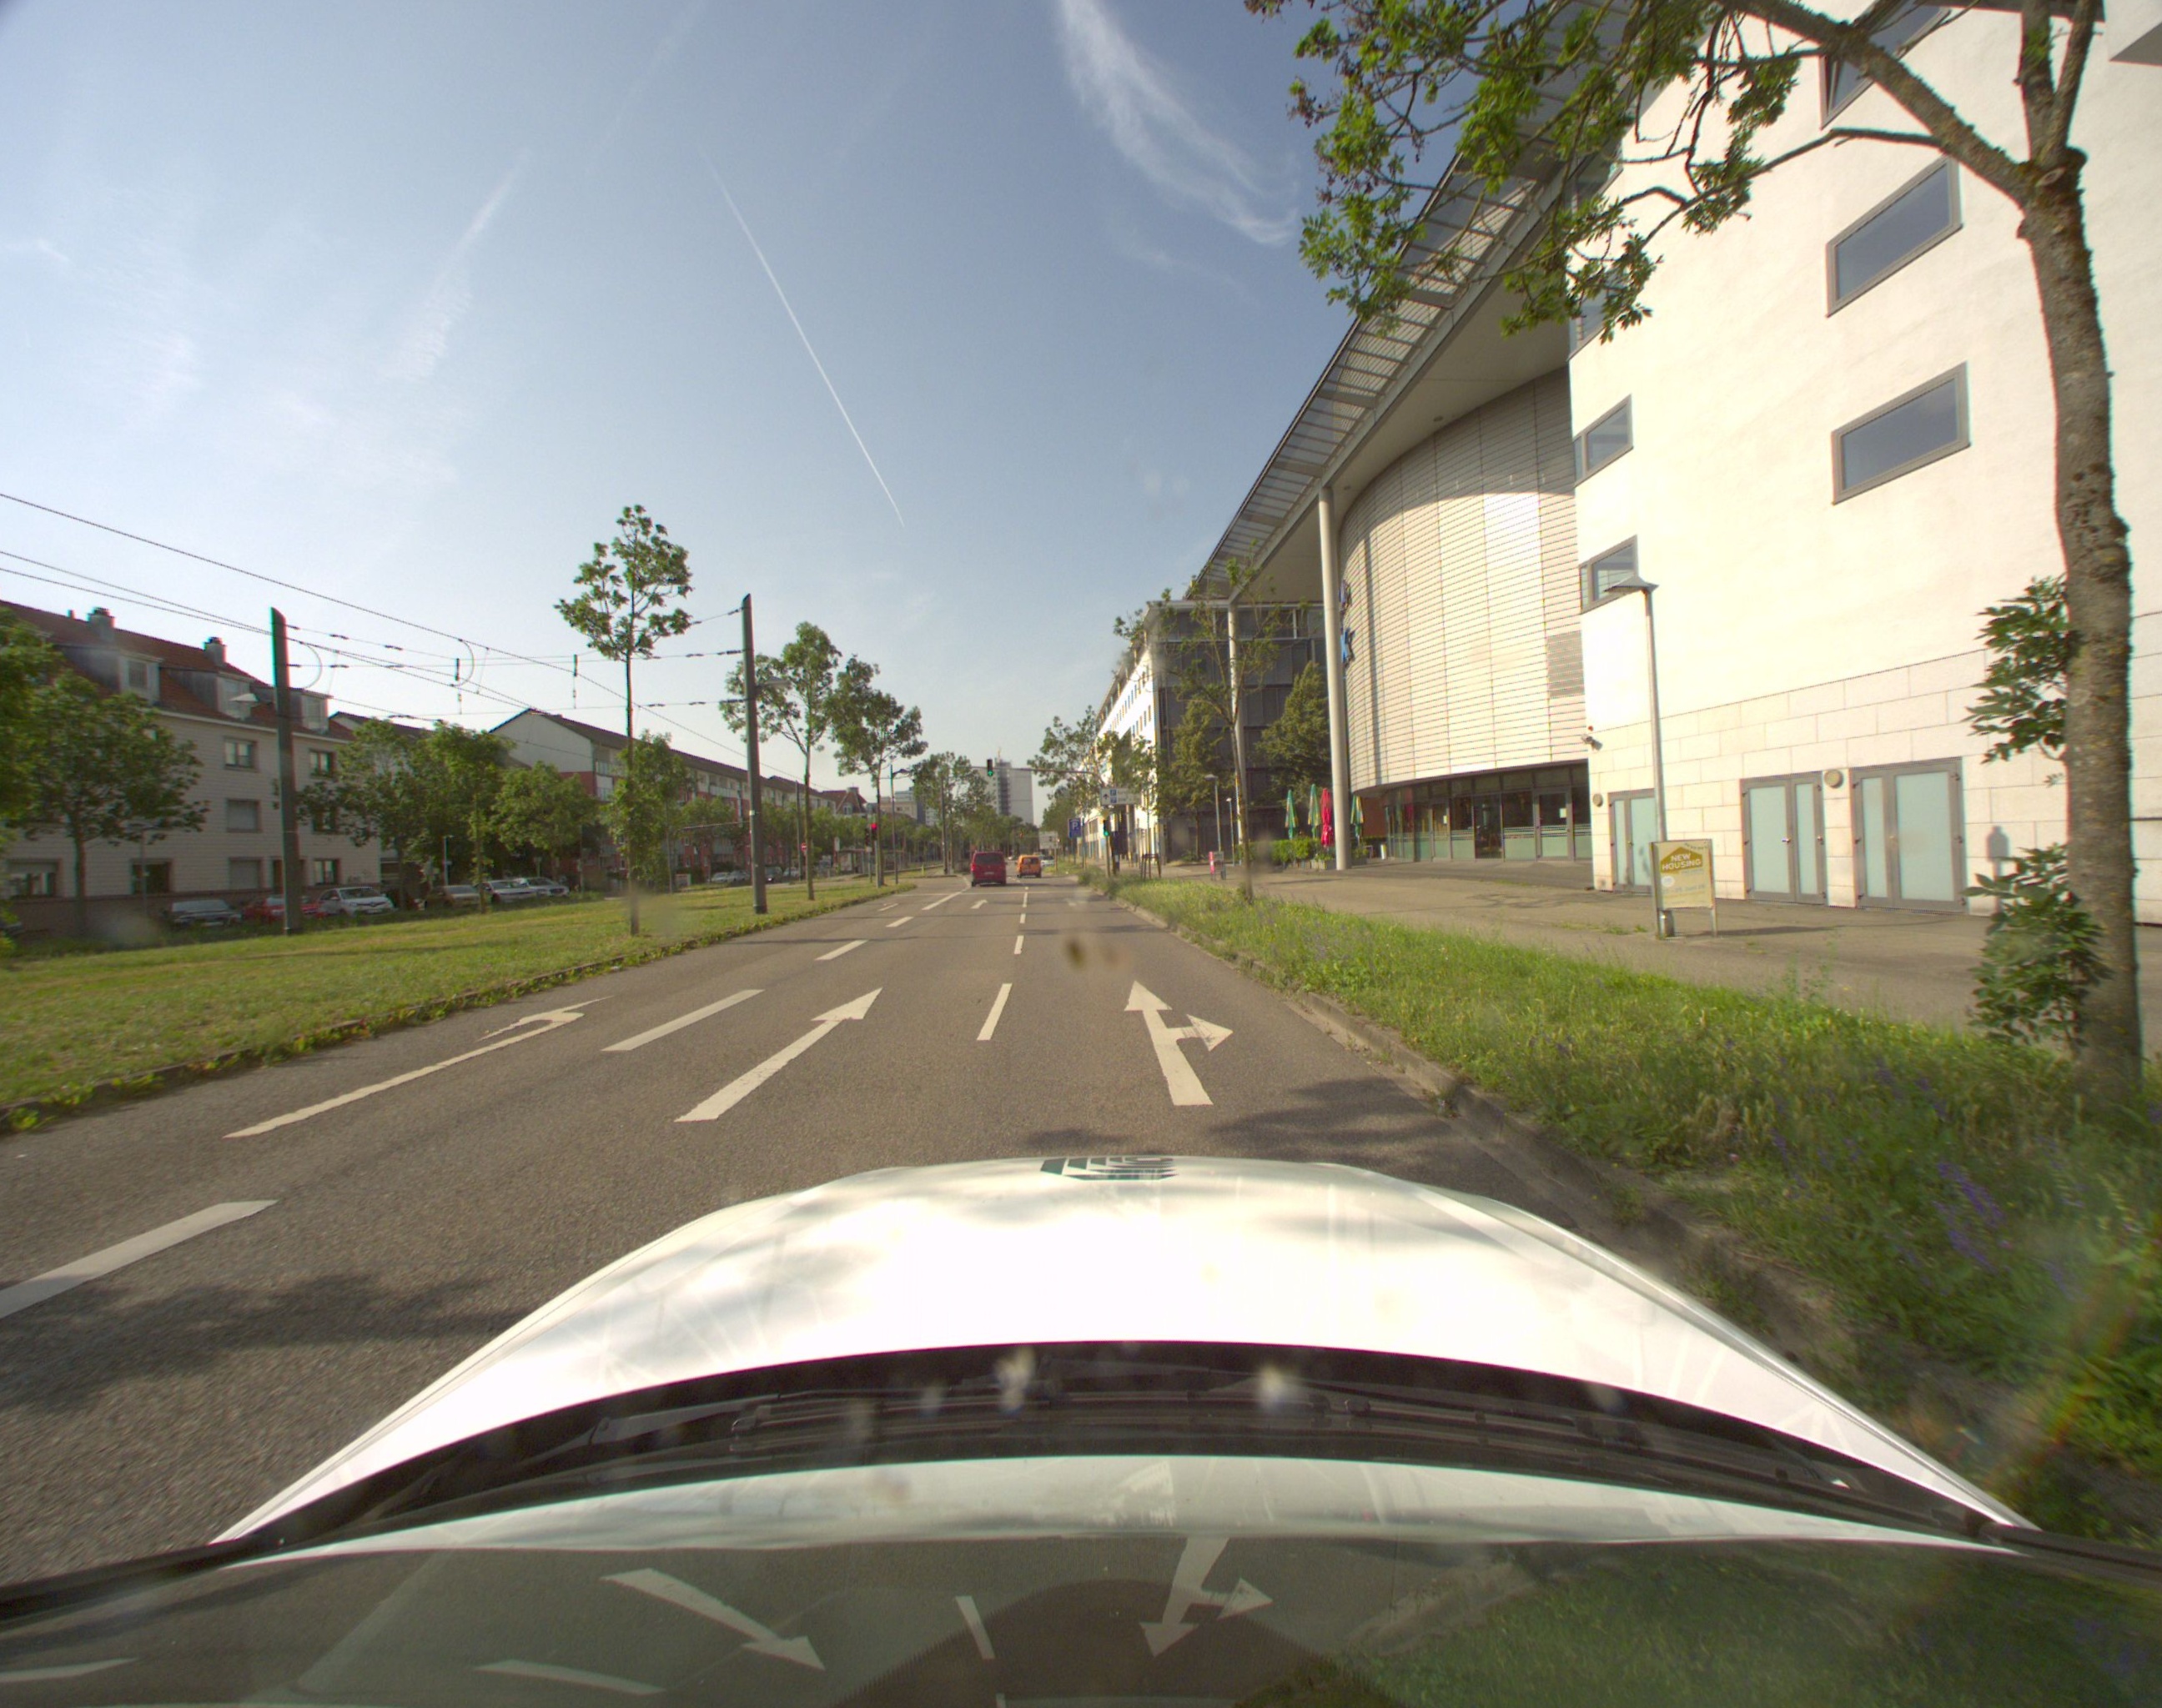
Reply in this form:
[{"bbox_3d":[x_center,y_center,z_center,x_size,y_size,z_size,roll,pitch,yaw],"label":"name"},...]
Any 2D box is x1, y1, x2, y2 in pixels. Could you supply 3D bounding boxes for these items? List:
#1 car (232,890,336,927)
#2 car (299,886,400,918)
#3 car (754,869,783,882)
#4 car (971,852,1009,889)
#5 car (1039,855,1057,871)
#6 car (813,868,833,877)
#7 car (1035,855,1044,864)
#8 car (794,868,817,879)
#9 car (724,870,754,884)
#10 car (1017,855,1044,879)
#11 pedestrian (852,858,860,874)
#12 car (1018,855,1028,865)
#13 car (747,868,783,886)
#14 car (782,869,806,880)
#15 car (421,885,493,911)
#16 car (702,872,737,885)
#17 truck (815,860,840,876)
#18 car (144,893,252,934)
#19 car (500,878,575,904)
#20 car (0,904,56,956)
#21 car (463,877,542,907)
[{"bbox_3d":[-31.572,2.123,32.244,3.949,1.258,1.887,-1,-1,29],"label":"car"},{"bbox_3d":[-31.714,2.037,35.329,3.950,1.269,1.898,-1,-1,26],"label":"car"},{"bbox_3d":[-37.412,2.563,97.660,1.977,1.556,4.530,-1,0,-4],"label":"car"},{"bbox_3d":[-4.955,0.889,44.710,1.871,1.853,3.993,-2,0,-5],"label":"car"},{"bbox_3d":[-3.380,0.925,82.783,1.717,1.519,3.775,-2,0,-5],"label":"car"},{"bbox_3d":[-38.707,2.774,122.421,1.977,1.360,4.063,-1,0,-4],"label":"car"},{"bbox_3d":[-8.820,1.167,172.619,1.989,2.013,3.995,-2,0,-4],"label":"car"},{"bbox_3d":[-38.115,2.691,112.831,1.977,1.360,4.063,-1,0,-4],"label":"car"},{"bbox_3d":[-36.820,2.477,87.676,1.830,1.471,3.821,-1,0,-4],"label":"car"},{"bbox_3d":[-3.798,0.937,61.771,1.871,1.696,3.969,-2,0,-3],"label":"car"},{"bbox_3d":[-24.140,1.268,87.214,0.671,1.653,0.792,-2,-1,-8],"label":"pedestrian"},{"bbox_3d":[-12.175,1.277,171.368,1.990,2.013,3.993,-2,0,-5],"label":"car"},{"bbox_3d":[-32.778,2.339,84.610,1.989,1.706,4.707,-2,0,-3],"label":"car"},{"bbox_3d":[-37.828,2.646,107.526,1.977,1.360,4.063,-1,0,-4],"label":"car"},{"bbox_3d":[-32.550,2.251,42.474,3.948,1.178,2.013,-1,-1,37],"label":"car"},{"bbox_3d":[-36.300,2.424,81.854,1.830,1.148,4.158,-1,0,-4],"label":"car"},{"bbox_3d":[-42.857,2.388,137.644,2.361,2.563,7.229,-2,0,-4],"label":"truck"},{"bbox_3d":[-31.336,2.069,28.887,3.949,1.235,1.710,-1,-1,29],"label":"car"},{"bbox_3d":[-32.455,2.196,48.605,4.297,1.463,1.976,-1,-1,29],"label":"car"},{"bbox_3d":[-30.245,2.061,22.114,4.010,1.288,2.011,-1,-1,23],"label":"car"},{"bbox_3d":[-31.964,2.107,45.002,4.407,1.514,2.013,-2,0,32],"label":"car"}]
